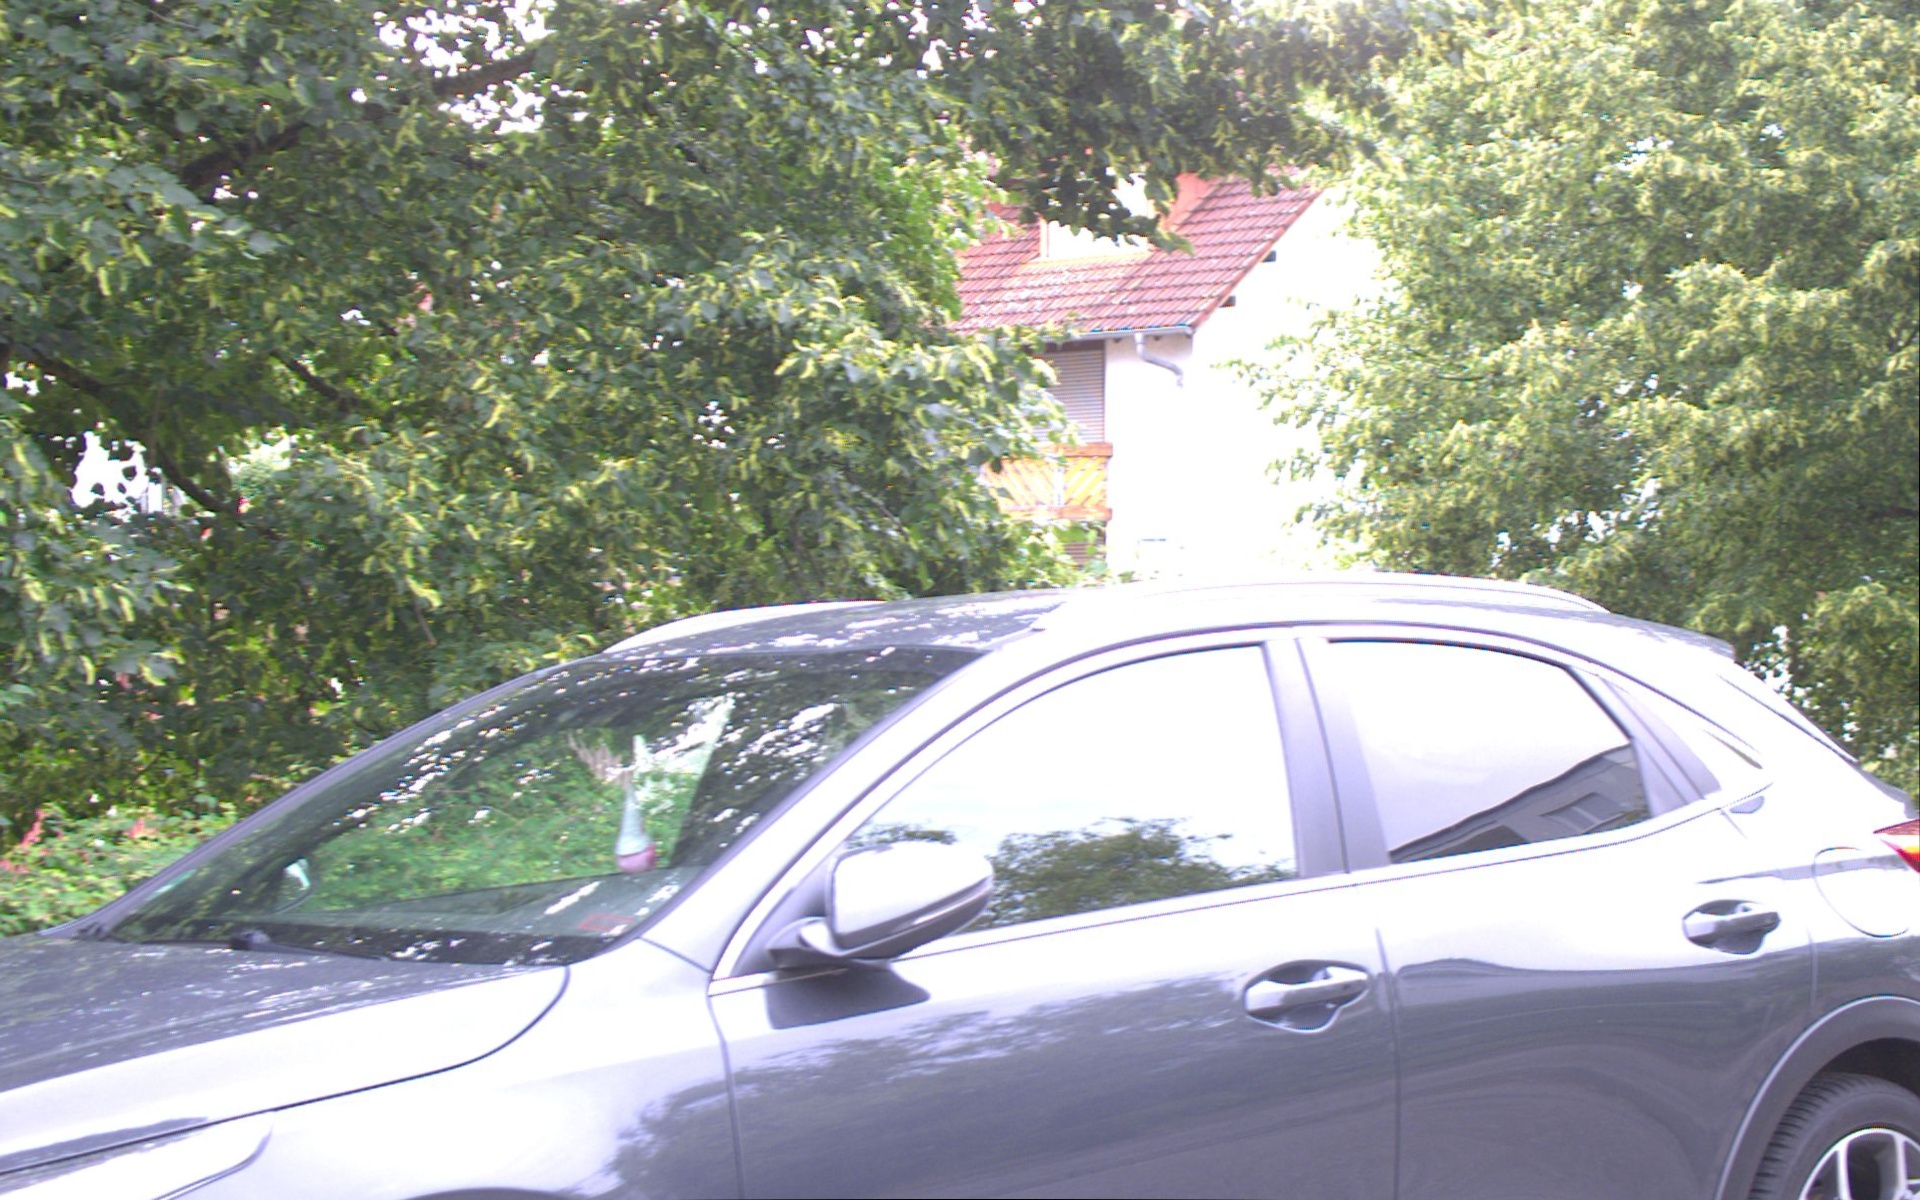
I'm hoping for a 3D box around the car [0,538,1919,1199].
[{"bbox_3d":[-0.212,0.710,5.090,4.183,1.526,1.746,-1,-1,-40],"label":"car"}]
